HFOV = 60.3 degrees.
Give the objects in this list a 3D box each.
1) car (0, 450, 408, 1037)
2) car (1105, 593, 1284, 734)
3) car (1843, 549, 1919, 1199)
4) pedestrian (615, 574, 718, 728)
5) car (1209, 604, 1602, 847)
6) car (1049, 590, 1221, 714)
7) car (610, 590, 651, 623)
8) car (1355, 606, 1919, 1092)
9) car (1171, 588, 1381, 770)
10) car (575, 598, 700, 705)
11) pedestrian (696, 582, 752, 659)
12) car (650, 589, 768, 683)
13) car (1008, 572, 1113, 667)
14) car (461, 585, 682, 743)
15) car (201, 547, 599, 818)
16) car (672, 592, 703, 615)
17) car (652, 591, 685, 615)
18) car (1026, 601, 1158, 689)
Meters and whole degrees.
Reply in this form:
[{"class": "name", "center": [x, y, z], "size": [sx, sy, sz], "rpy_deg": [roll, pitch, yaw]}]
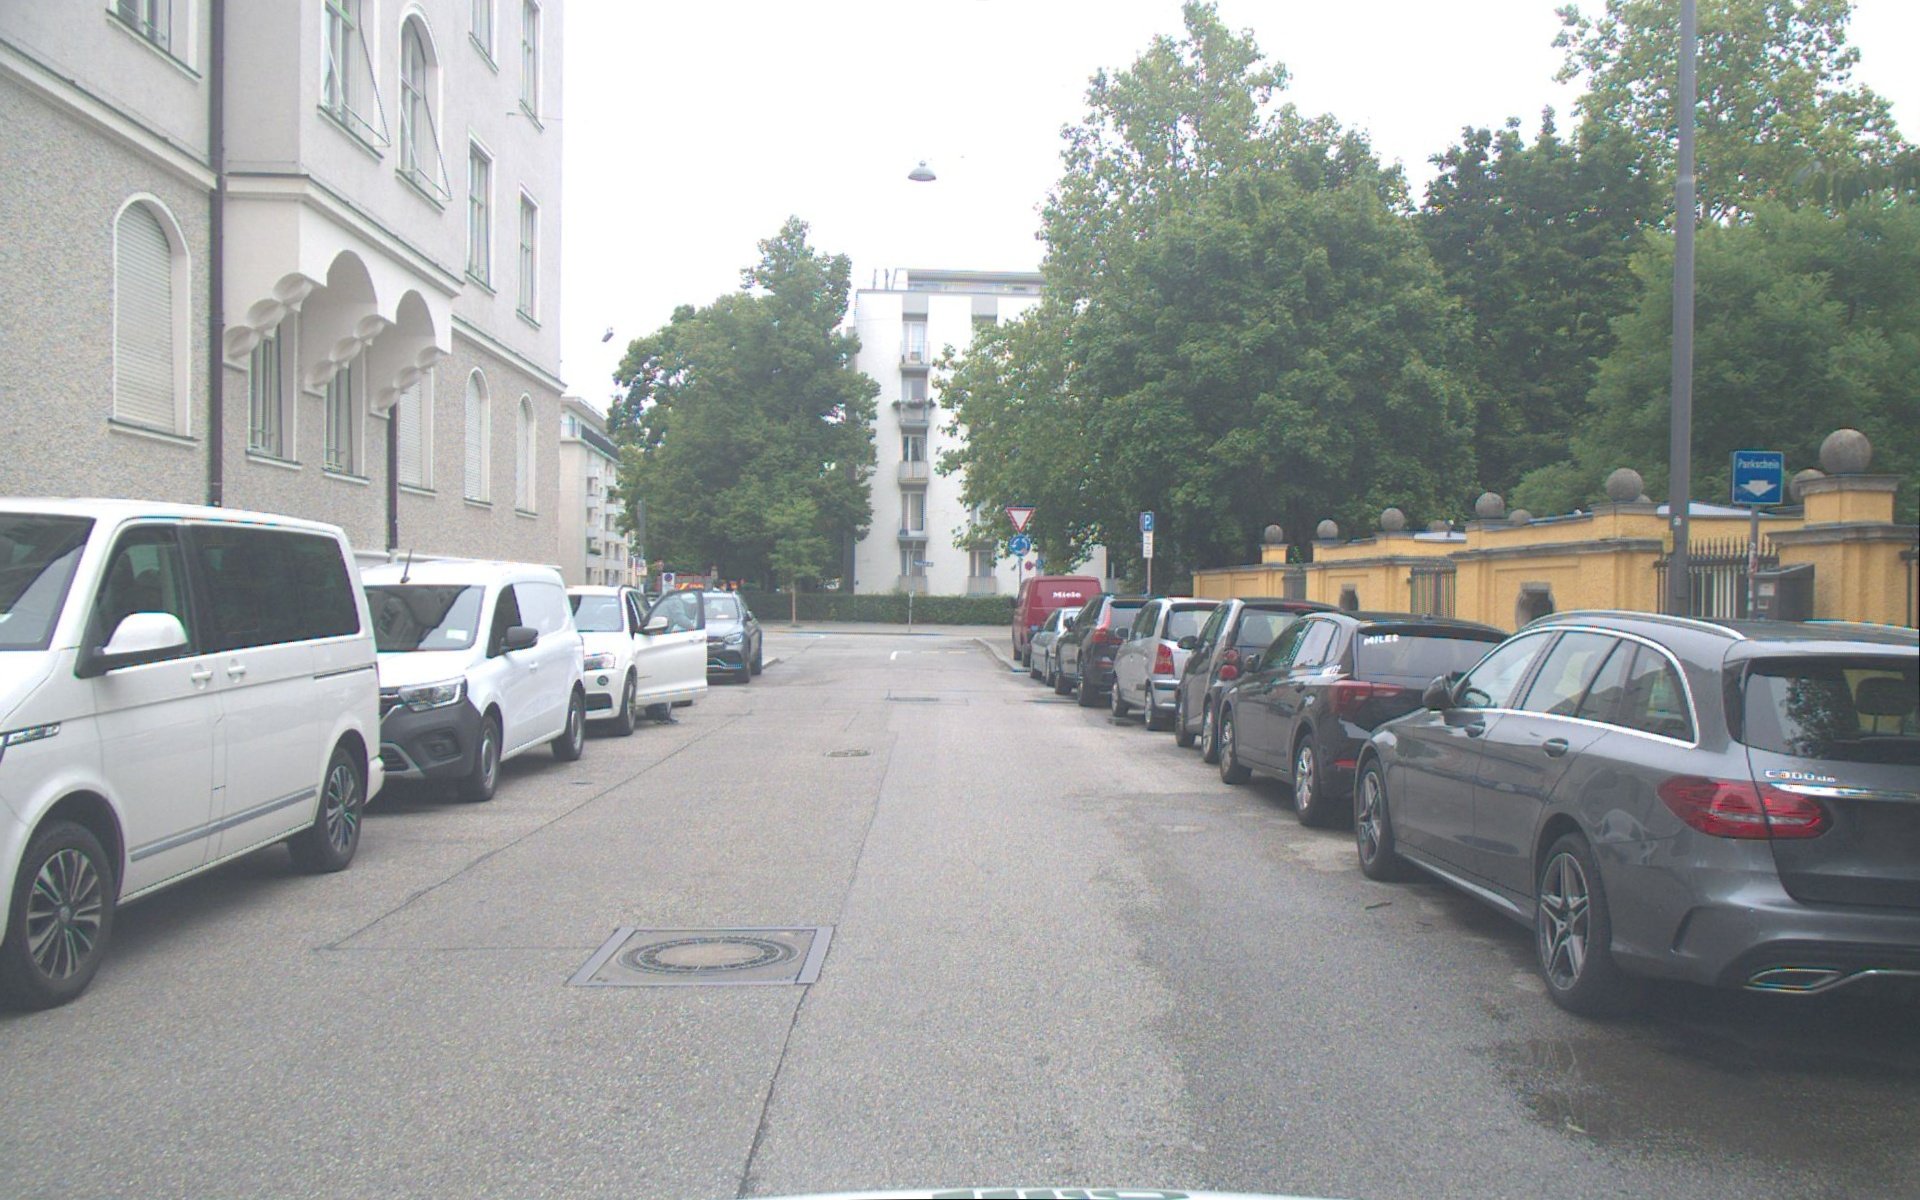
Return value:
[{"class": "car", "center": [-4.197, 0.488, 7.536], "size": [1.818, 1.972, 4.955], "rpy_deg": [-1, 0, -2]}, {"class": "car", "center": [2.873, 0.729, 20.947], "size": [1.455, 1.566, 3.689], "rpy_deg": [3, 0, -4]}, {"class": "car", "center": [3.120, 0.689, 1.867], "size": [1.678, 1.598, 4.690], "rpy_deg": [0, 0, -1]}, {"class": "pedestrian", "center": [-3.529, 0.593, 19.865], "size": [0.952, 1.786, 0.867], "rpy_deg": [1, 0, -32]}, {"class": "car", "center": [3.107, 0.792, 12.393], "size": [1.658, 1.439, 4.034], "rpy_deg": [3, 0, -2]}, {"class": "car", "center": [2.609, 0.726, 25.822], "size": [1.847, 1.682, 4.820], "rpy_deg": [3, 0, -3]}, {"class": "car", "center": [-15.691, 0.290, 78.909], "size": [1.786, 1.531, 4.412], "rpy_deg": [0, 0, -10]}, {"class": "car", "center": [3.119, 0.762, 7.253], "size": [1.657, 1.439, 4.515], "rpy_deg": [0, 0, 0]}, {"class": "car", "center": [3.067, 0.720, 16.522], "size": [1.477, 1.593, 2.869], "rpy_deg": [3, 0, 0]}, {"class": "car", "center": [-4.689, 0.703, 24.421], "size": [1.660, 1.439, 3.655], "rpy_deg": [-1, 0, -9]}, {"class": "pedestrian", "center": [-5.614, 0.483, 39.337], "size": [1.040, 1.802, 0.866], "rpy_deg": [1, 0, -35]}, {"class": "car", "center": [-4.676, 0.634, 31.355], "size": [1.712, 1.630, 4.494], "rpy_deg": [-1, 0, -3]}, {"class": "car", "center": [2.211, 0.409, 37.643], "size": [1.836, 1.954, 4.885], "rpy_deg": [2, 0, -2]}, {"class": "car", "center": [-4.429, 0.663, 19.504], "size": [1.712, 1.630, 4.494], "rpy_deg": [-1, 0, -3]}, {"class": "car", "center": [-4.334, 0.552, 13.713], "size": [1.711, 1.819, 5.035], "rpy_deg": [-1, 0, -2]}, {"class": "car", "center": [-20.537, 0.271, 124.698], "size": [1.798, 1.663, 3.818], "rpy_deg": [0, 0, -3]}, {"class": "car", "center": [-20.346, 0.201, 115.573], "size": [1.798, 1.663, 3.818], "rpy_deg": [0, 0, -3]}, {"class": "car", "center": [2.466, 0.816, 31.916], "size": [1.847, 1.474, 4.365], "rpy_deg": [3, 0, -4]}]
